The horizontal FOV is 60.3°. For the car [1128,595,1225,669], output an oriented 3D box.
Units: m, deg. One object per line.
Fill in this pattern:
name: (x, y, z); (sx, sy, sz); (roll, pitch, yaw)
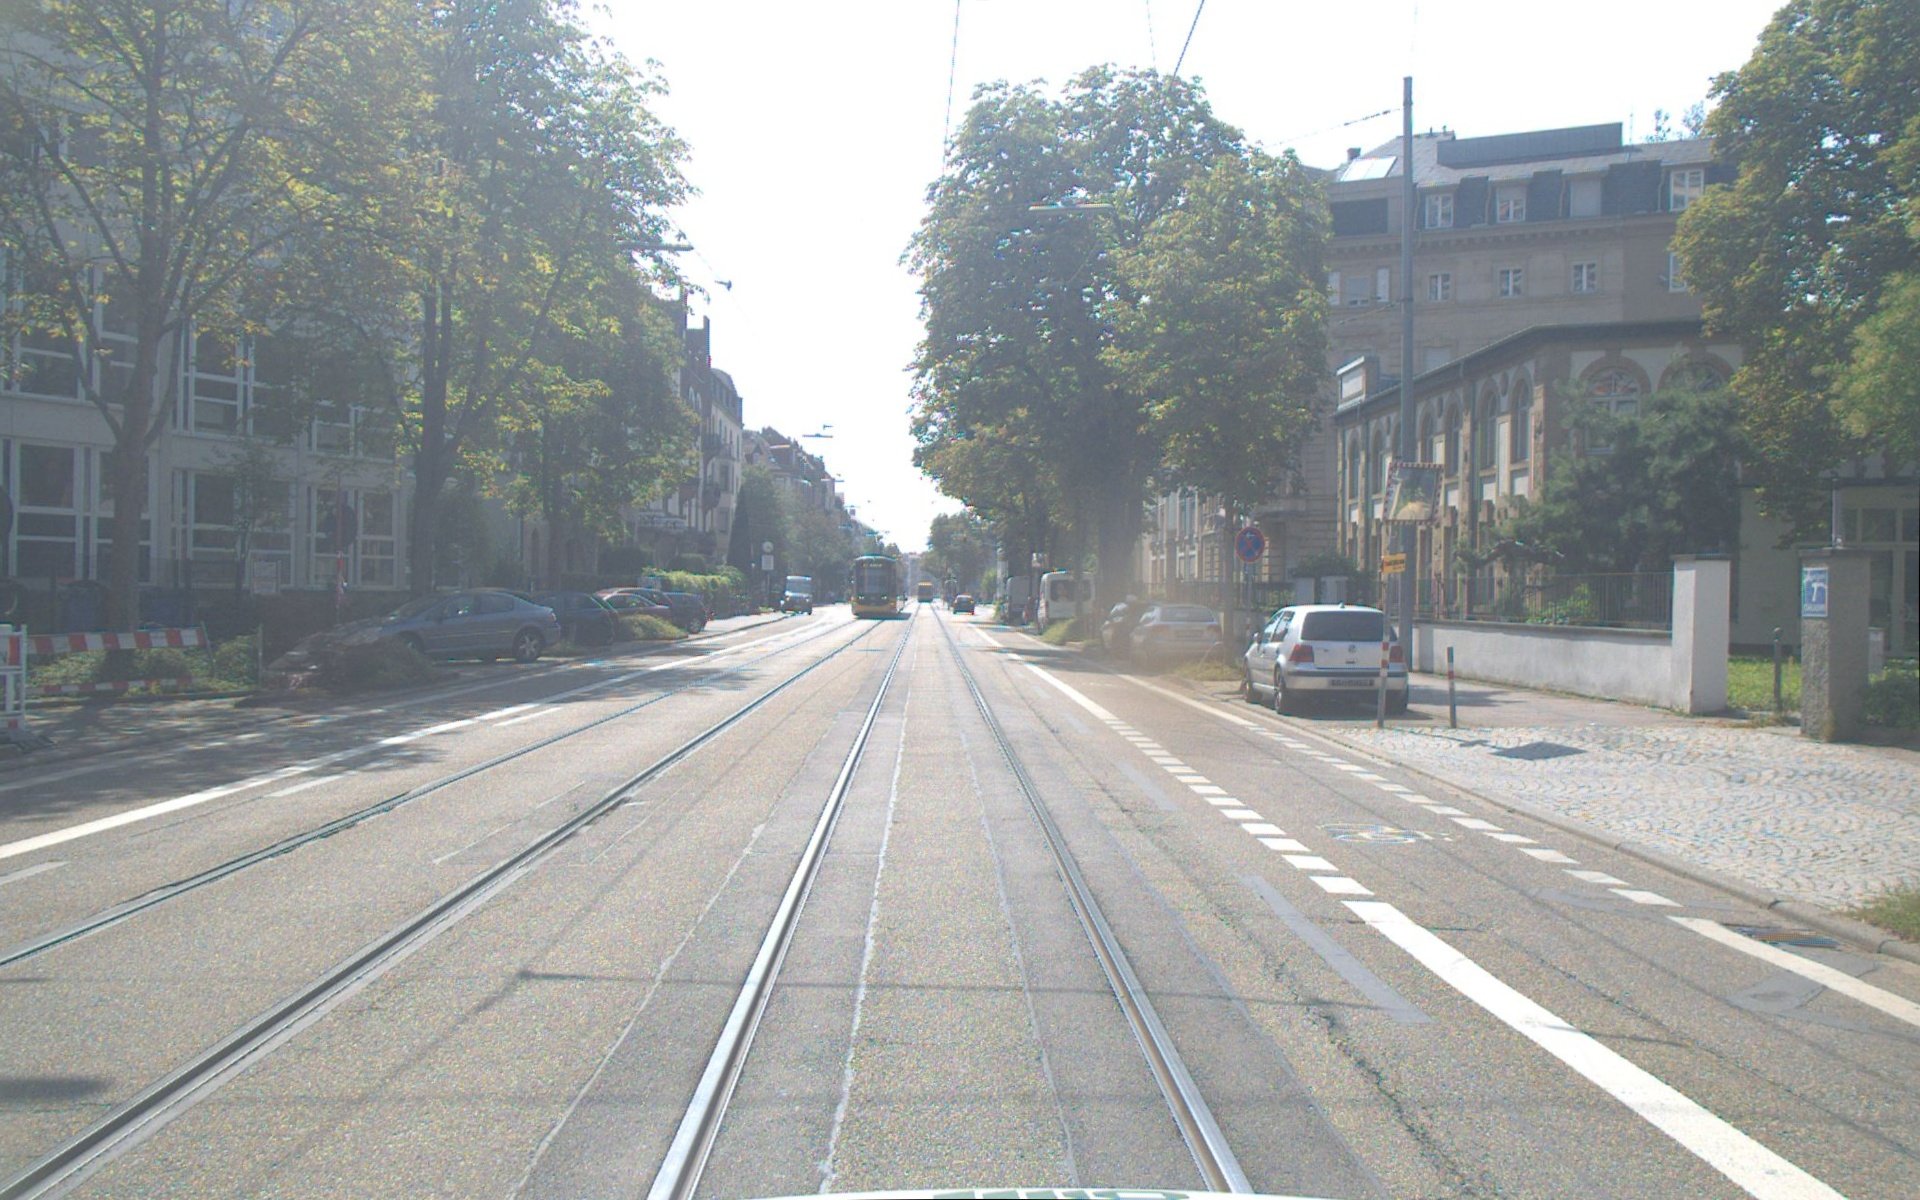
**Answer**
car: (4.740, 0.675, 36.608); (1.607, 1.538, 3.640); (1, 0, -1)

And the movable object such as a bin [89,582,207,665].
movable object such as a bin: (-15.890, 0.451, 32.426); (1.649, 1.586, 1.353); (0, 0, -2)

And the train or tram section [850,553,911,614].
train or tram section: (-5.216, -1.087, 110.609); (3.425, 3.769, 12.412); (1, 1, 0)

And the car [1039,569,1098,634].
car: (4.185, 0.063, 64.280); (1.953, 2.407, 3.999); (1, 0, -1)

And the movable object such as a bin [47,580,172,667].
movable object such as a bin: (-15.883, 0.433, 30.949); (1.649, 1.586, 1.353); (0, 0, -2)

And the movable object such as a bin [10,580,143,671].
movable object such as a bin: (-15.679, 0.446, 29.399); (1.649, 1.586, 1.353); (0, 0, -2)

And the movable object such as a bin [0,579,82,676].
movable object such as a bin: (-15.905, 0.454, 27.745); (1.649, 1.586, 1.353); (0, 0, -2)

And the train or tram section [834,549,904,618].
train or tram section: (-5.254, -0.960, 98.175); (3.425, 3.769, 12.412); (1, 1, 0)

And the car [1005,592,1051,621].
car: (3.441, 0.329, 84.412); (1.954, 1.422, 3.997); (1, 0, -4)

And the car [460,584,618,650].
car: (-10.711, 0.437, 42.178); (3.557, 1.602, 1.650); (1, 0, -43)

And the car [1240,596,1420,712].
car: (5.062, 0.691, 23.102); (1.754, 1.471, 3.733); (0, 0, 1)

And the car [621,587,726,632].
car: (-10.736, 0.363, 62.142); (3.557, 1.602, 1.650); (1, 0, -43)

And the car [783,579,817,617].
car: (-10.949, -0.141, 113.740); (2.198, 2.484, 3.996); (1, 0, -5)

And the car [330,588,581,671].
car: (-10.001, 0.532, 33.099); (1.647, 1.477, 4.660); (1, 1, 42)

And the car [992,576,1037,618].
car: (2.973, -0.168, 91.542); (1.955, 2.272, 3.995); (0, 0, -6)

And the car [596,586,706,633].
car: (-11.028, 0.348, 59.100); (3.557, 1.602, 1.650); (1, 0, -43)

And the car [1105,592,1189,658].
car: (4.784, 0.612, 42.710); (1.757, 1.604, 4.000); (1, 0, 1)

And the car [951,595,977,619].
car: (0.304, 0.560, 131.014); (1.953, 1.832, 3.999); (1, 0, -1)

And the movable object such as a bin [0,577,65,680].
movable object such as a bin: (-15.435, 0.441, 26.322); (1.649, 1.586, 1.353); (0, 0, -2)
